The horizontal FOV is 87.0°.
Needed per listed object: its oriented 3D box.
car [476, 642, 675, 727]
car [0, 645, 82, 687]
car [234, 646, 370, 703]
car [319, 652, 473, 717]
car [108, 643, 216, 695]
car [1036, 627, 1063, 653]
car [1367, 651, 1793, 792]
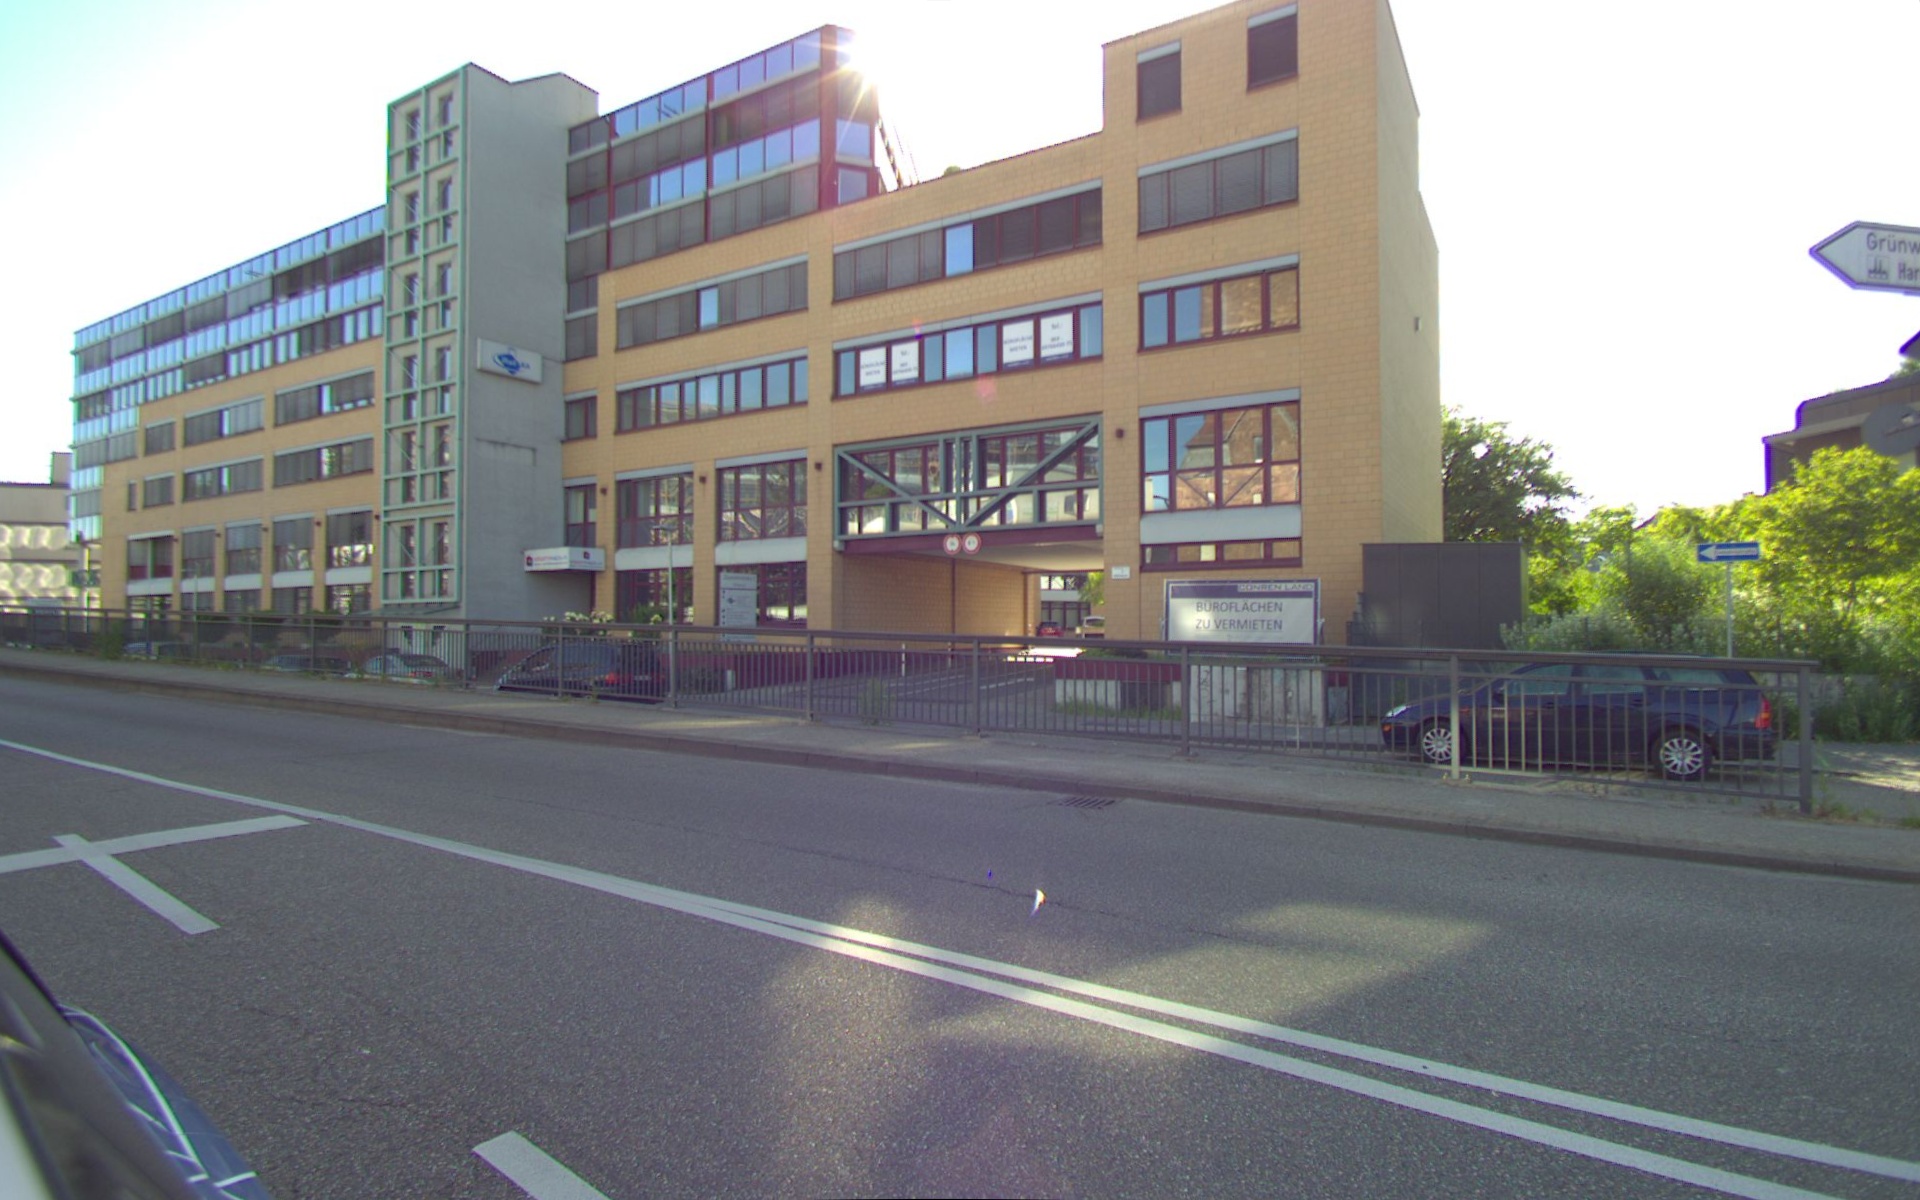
[{"bbox_3d":[-9.104,1.900,23.871,4.670,1.771,1.937,-1,-1,30],"label":"car"},{"bbox_3d":[-39.016,2.746,42.745,3.990,1.674,1.976,-1,-3,35],"label":"car"},{"bbox_3d":[-20.147,2.226,30.951,4.342,1.616,1.806,-1,-3,32],"label":"car"},{"bbox_3d":[-15.601,2.280,27.947,4.342,1.616,1.806,-1,-3,32],"label":"car"},{"bbox_3d":[-28.812,2.435,36.524,3.990,1.737,1.976,-1,-3,35],"label":"car"},{"bbox_3d":[5.774,2.576,65.299,1.622,1.586,3.149,-1,-2,4],"label":"car"},{"bbox_3d":[7.869,1.446,13.216,4.440,1.515,1.804,-2,-3,35],"label":"car"}]
